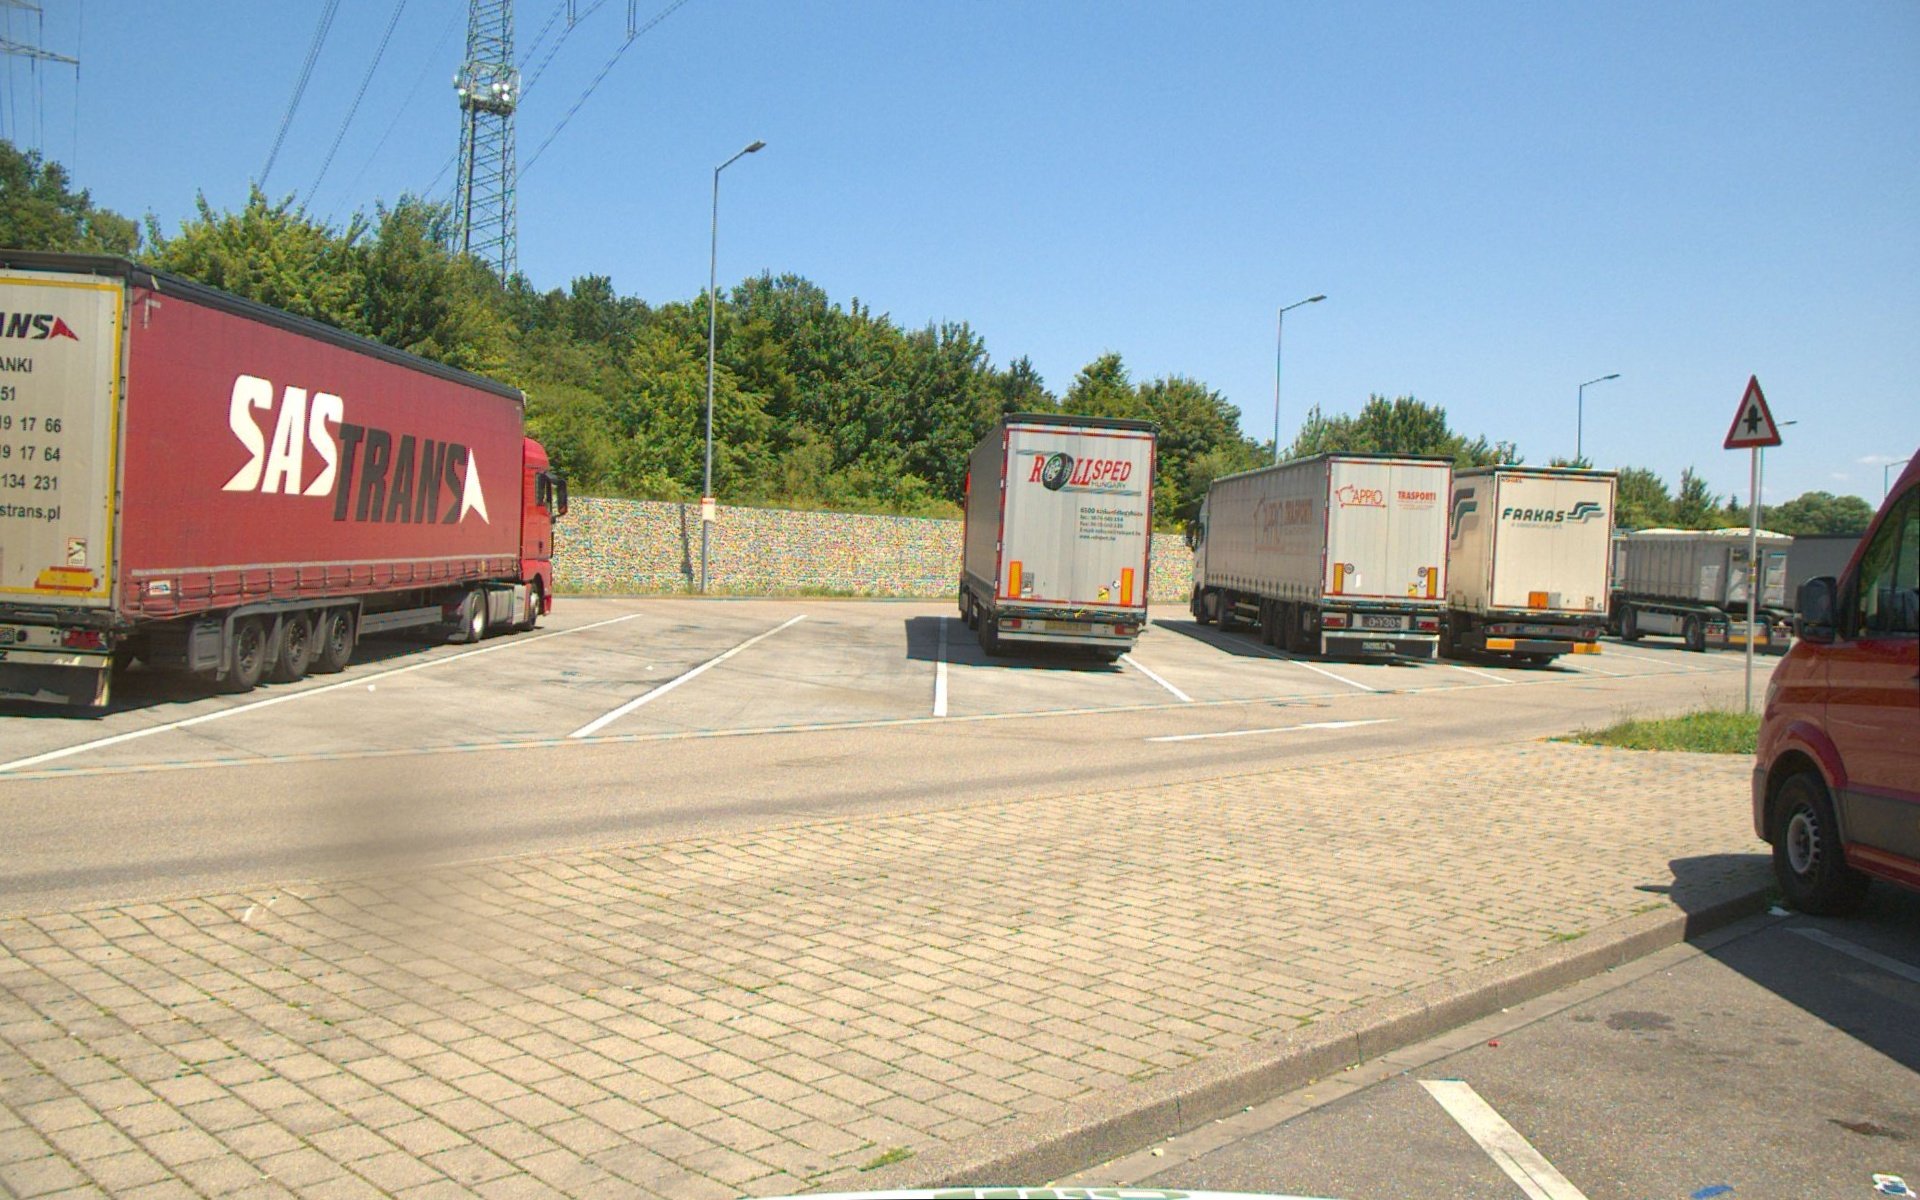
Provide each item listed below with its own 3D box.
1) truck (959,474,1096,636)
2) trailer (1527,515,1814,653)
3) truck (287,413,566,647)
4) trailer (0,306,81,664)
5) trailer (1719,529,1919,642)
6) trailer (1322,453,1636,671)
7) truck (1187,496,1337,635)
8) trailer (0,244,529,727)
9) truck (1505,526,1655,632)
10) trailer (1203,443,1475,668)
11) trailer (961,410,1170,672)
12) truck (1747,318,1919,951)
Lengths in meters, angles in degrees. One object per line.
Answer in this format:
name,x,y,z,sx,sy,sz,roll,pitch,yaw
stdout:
truck,1.476,-1.092,39.344,2.808,3.421,5.974,2,2,-1
trailer,21.838,-0.680,52.242,2.800,3.662,13.762,2,2,-1
truck,-8.799,-1.163,28.066,2.755,3.421,5.974,2,2,-1
trailer,-12.488,-1.259,15.795,2.651,4.173,10.389,2,2,-1
trailer,34.792,-0.709,65.440,2.800,3.972,13.762,2,2,-1
trailer,11.771,-0.990,39.564,2.800,4.180,13.762,2,2,-1
truck,8.129,-0.985,45.262,2.808,3.421,5.974,2,2,-1
trailer,-8.691,-1.271,21.251,2.764,4.141,13.763,2,2,-1
truck,21.741,-0.795,58.337,2.808,3.421,5.974,2,2,-1
trailer,8.251,-1.102,38.500,2.800,4.180,13.762,2,2,-1
trailer,1.676,-1.175,33.147,2.800,4.040,13.761,2,2,-2
truck,4.991,0.158,5.516,1.969,2.697,6.457,1,0,3
